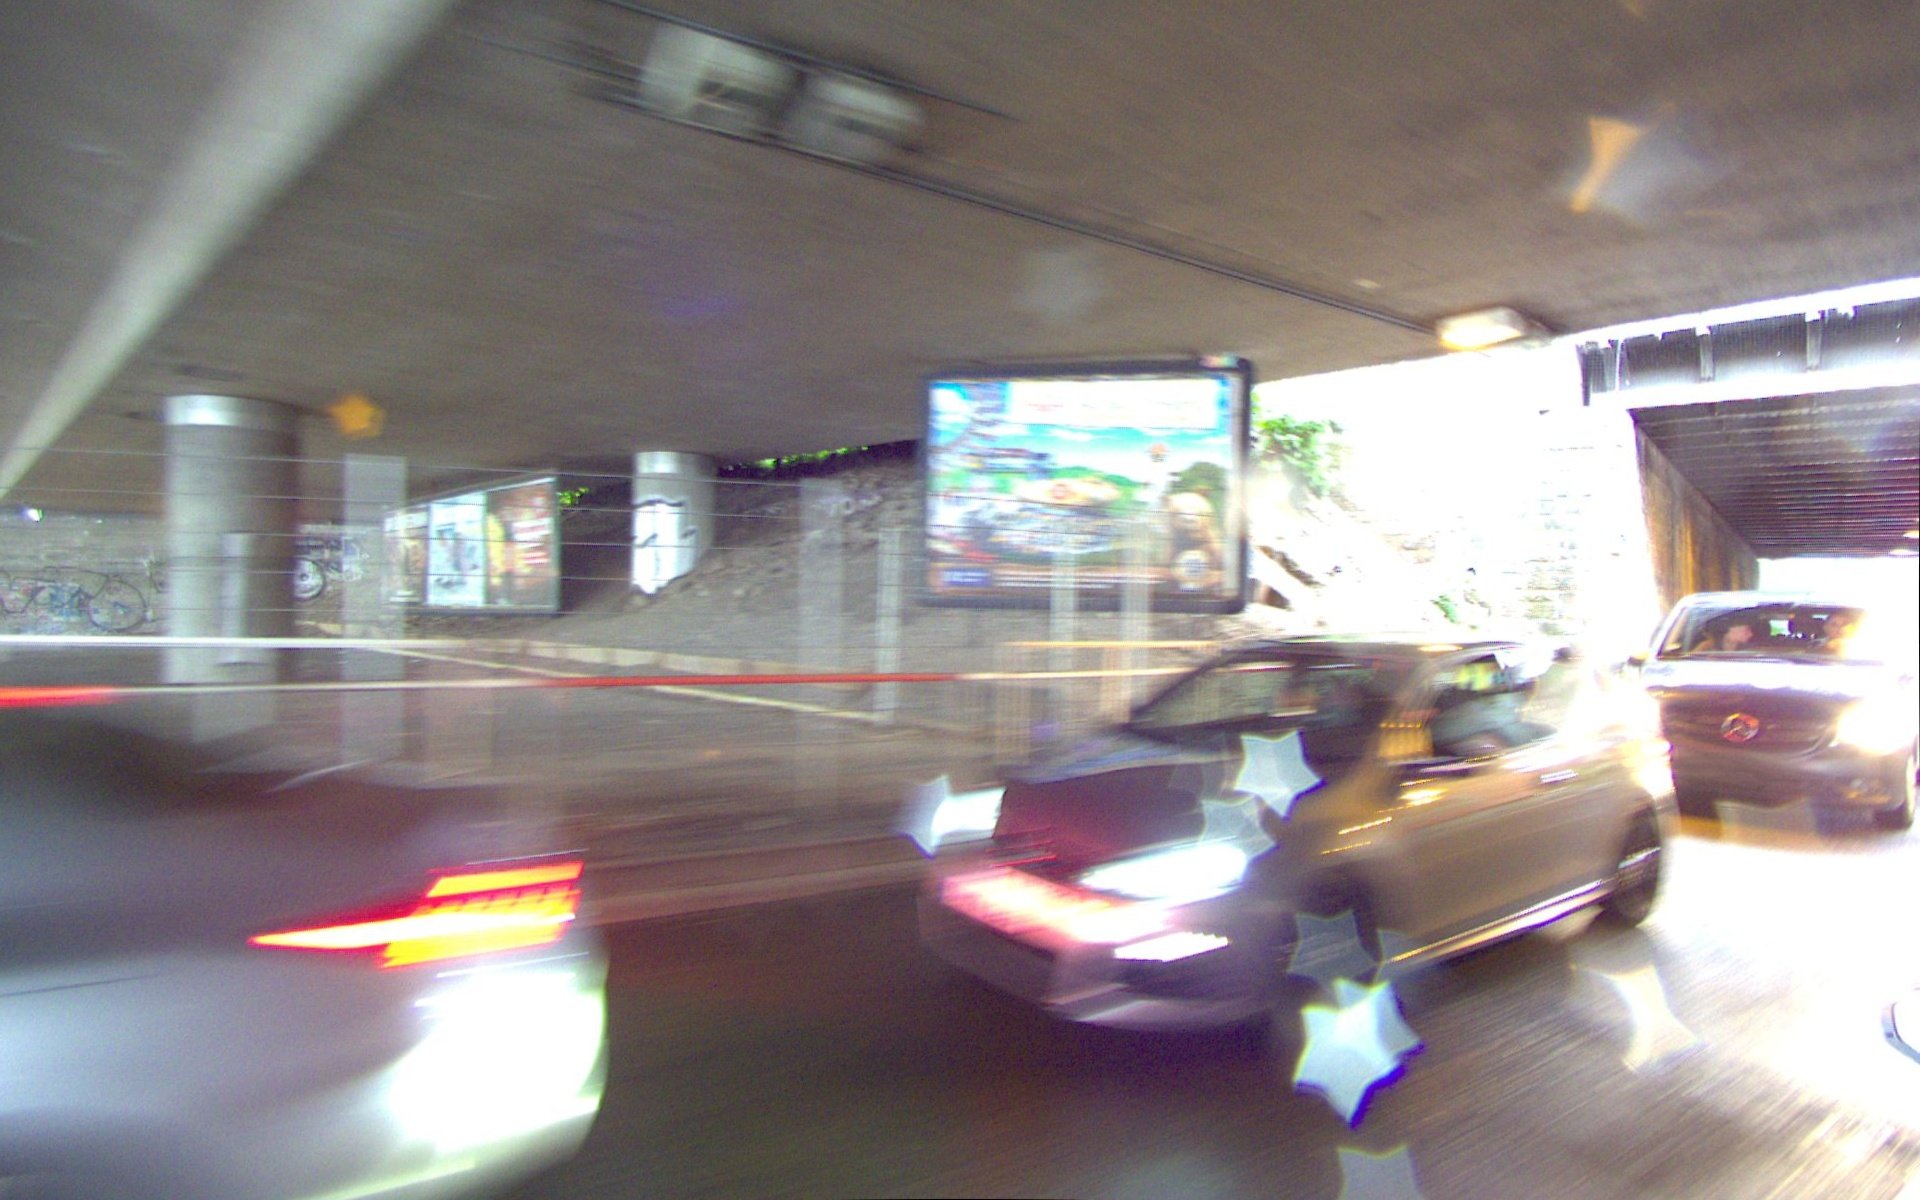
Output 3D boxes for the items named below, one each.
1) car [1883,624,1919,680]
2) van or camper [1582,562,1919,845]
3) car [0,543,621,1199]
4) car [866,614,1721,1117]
[{"bbox_3d":[26.368,1.390,27.346,1.816,1.457,4.079,-1,-2,43],"label":"car"},{"bbox_3d":[7.558,0.779,9.237,5.105,1.893,1.974,2,-2,-44],"label":"van or camper"},{"bbox_3d":[-3.080,0.704,1.835,4.443,1.550,1.986,0,-2,-28],"label":"car"},{"bbox_3d":[1.788,0.856,4.963,4.064,1.484,1.981,2,-2,-35],"label":"car"}]
